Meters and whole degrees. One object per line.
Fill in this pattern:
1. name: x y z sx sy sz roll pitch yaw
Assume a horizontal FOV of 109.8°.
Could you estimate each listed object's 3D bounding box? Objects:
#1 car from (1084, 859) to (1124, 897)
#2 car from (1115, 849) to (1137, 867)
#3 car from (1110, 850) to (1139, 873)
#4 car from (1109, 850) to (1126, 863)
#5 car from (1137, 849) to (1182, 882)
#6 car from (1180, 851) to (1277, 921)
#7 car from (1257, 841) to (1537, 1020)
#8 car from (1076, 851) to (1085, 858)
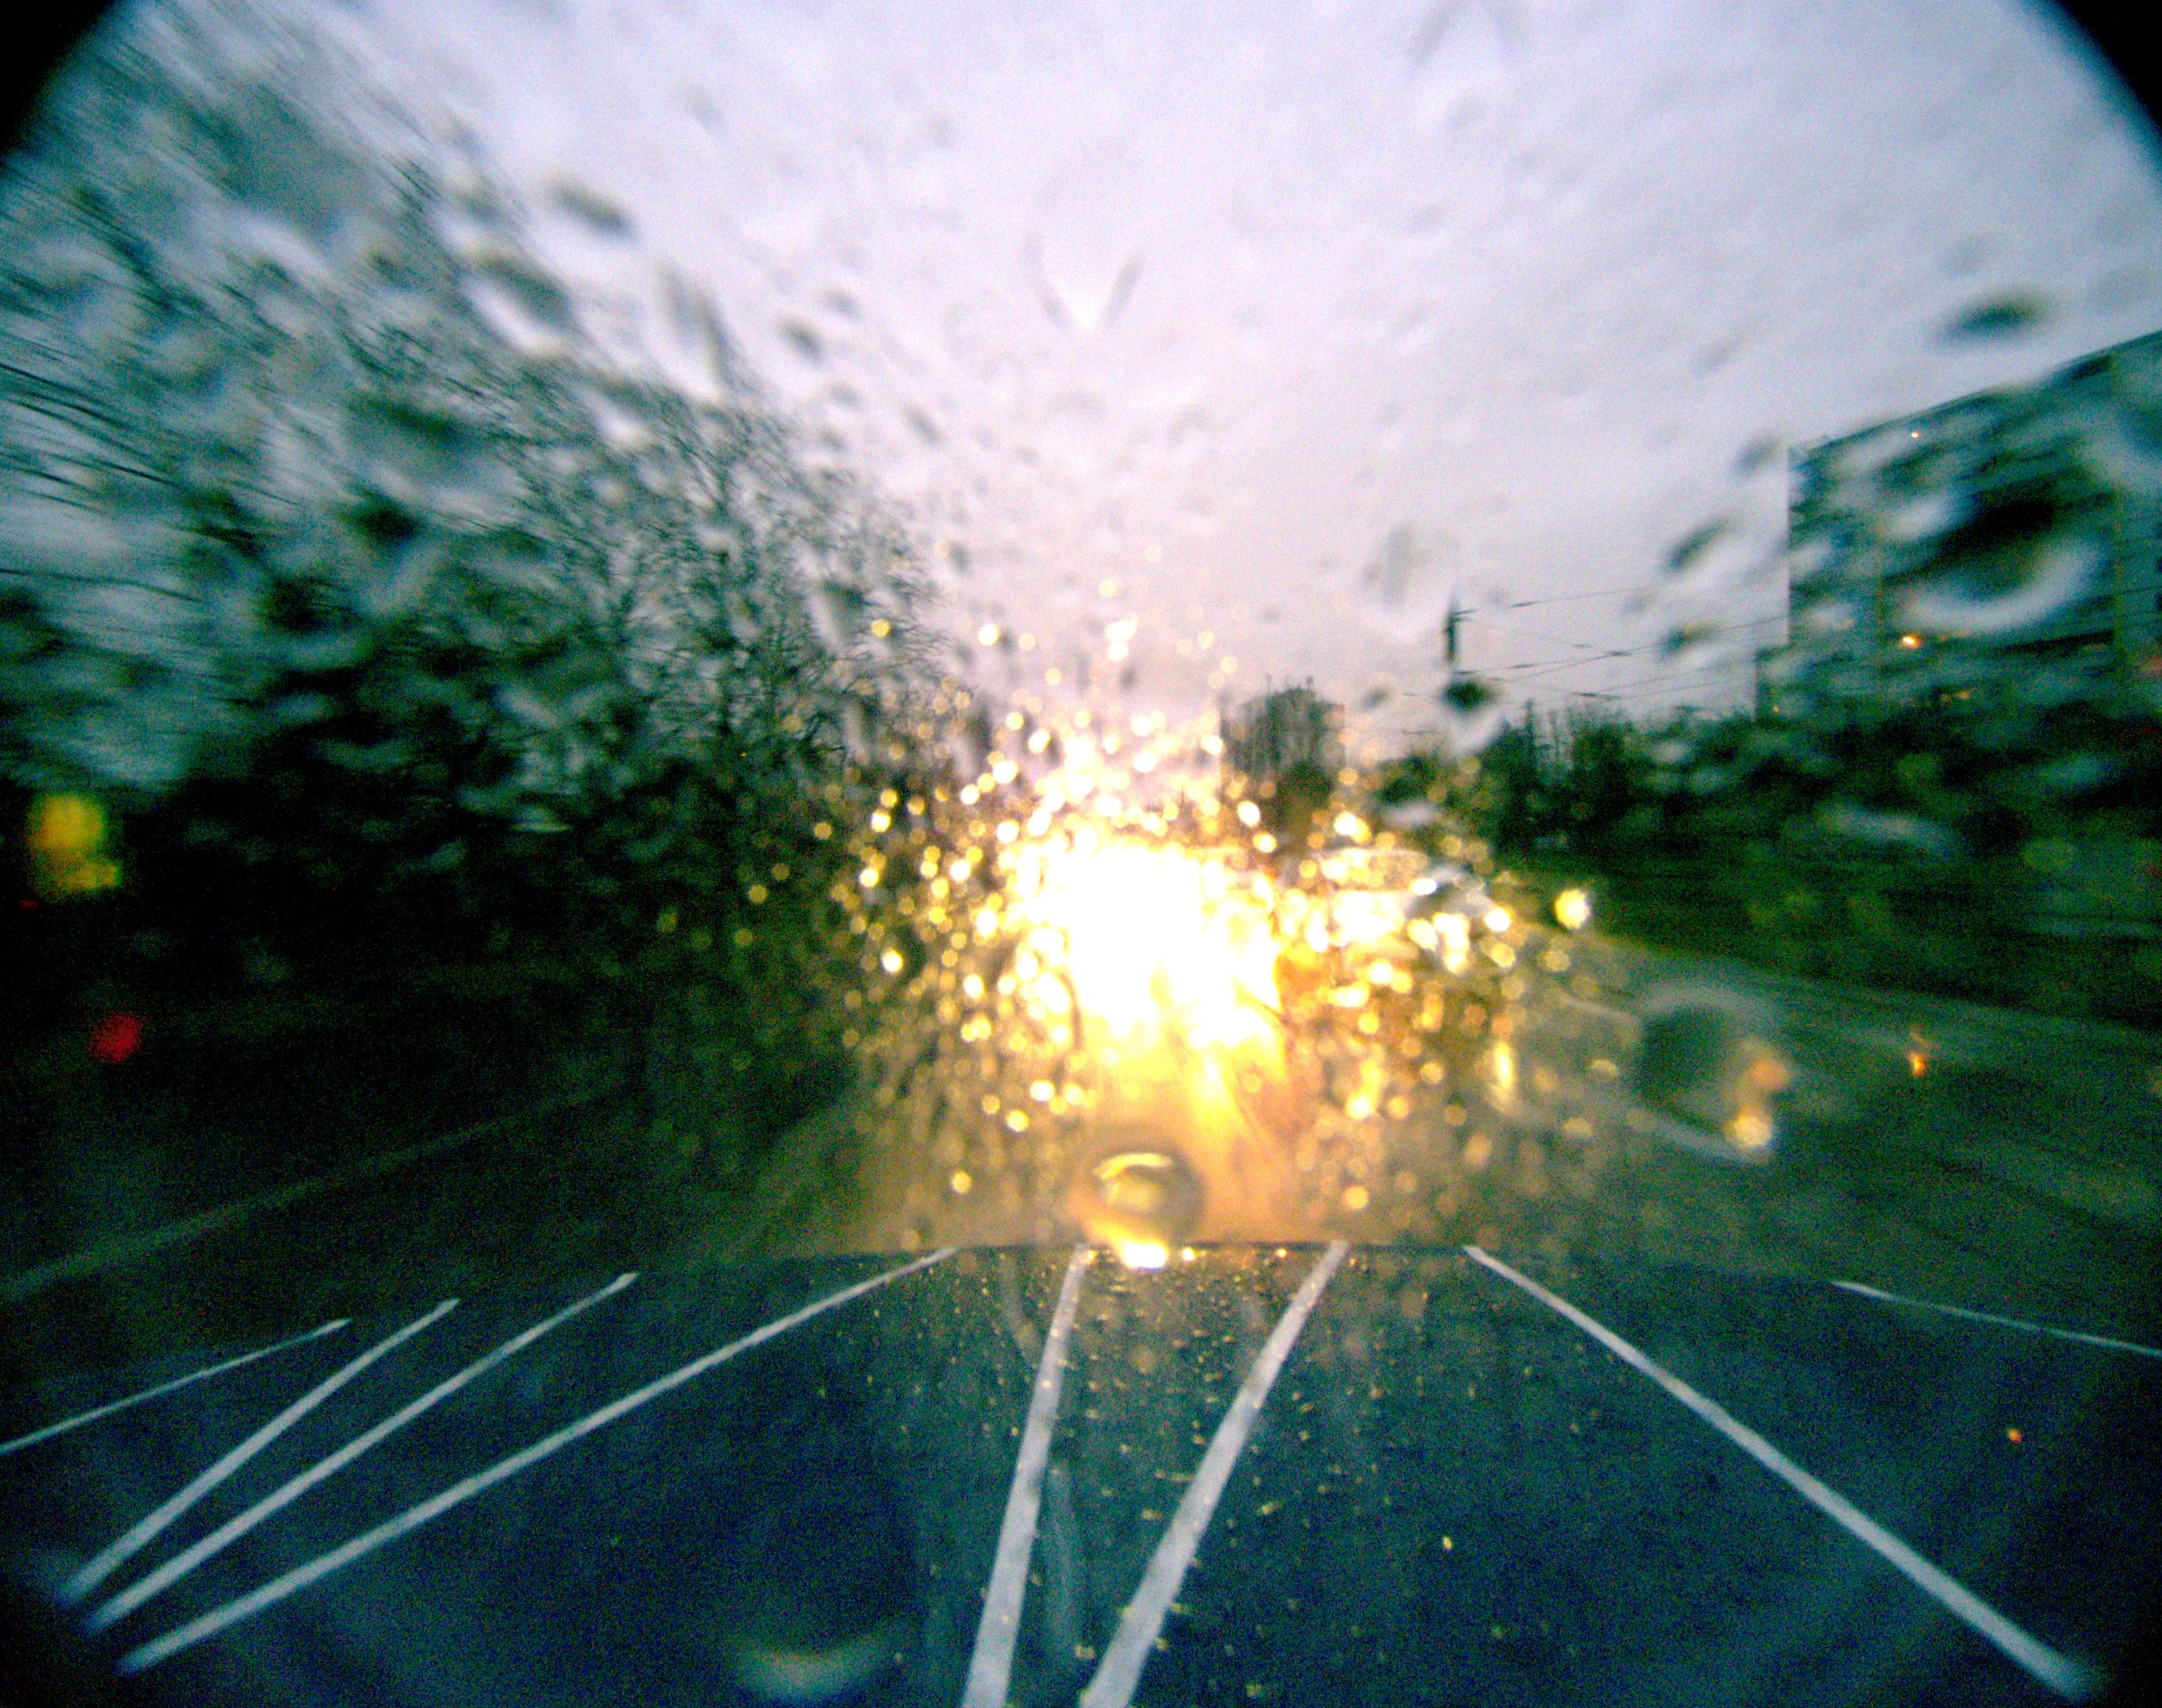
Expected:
1. car: 1.067 1.050 34.905 1.679 1.590 4.045 -1 0 2
2. car: 4.431 0.401 75.216 1.998 1.652 4.000 -2 1 1
3. car: 3.178 0.547 56.070 1.953 1.590 4.124 -1 0 0
4. car: 4.874 0.263 101.954 1.998 1.605 4.000 -2 1 1
5. car: 4.082 0.580 40.186 1.953 1.590 4.124 -1 0 0
6. car: 3.648 0.720 19.474 1.694 1.530 4.190 -2 0 1
7. car: 3.410 0.702 9.126 1.718 1.638 4.147 -1 0 2
8. car: -0.170 0.115 210.961 1.999 1.628 3.997 -3 1 -6
